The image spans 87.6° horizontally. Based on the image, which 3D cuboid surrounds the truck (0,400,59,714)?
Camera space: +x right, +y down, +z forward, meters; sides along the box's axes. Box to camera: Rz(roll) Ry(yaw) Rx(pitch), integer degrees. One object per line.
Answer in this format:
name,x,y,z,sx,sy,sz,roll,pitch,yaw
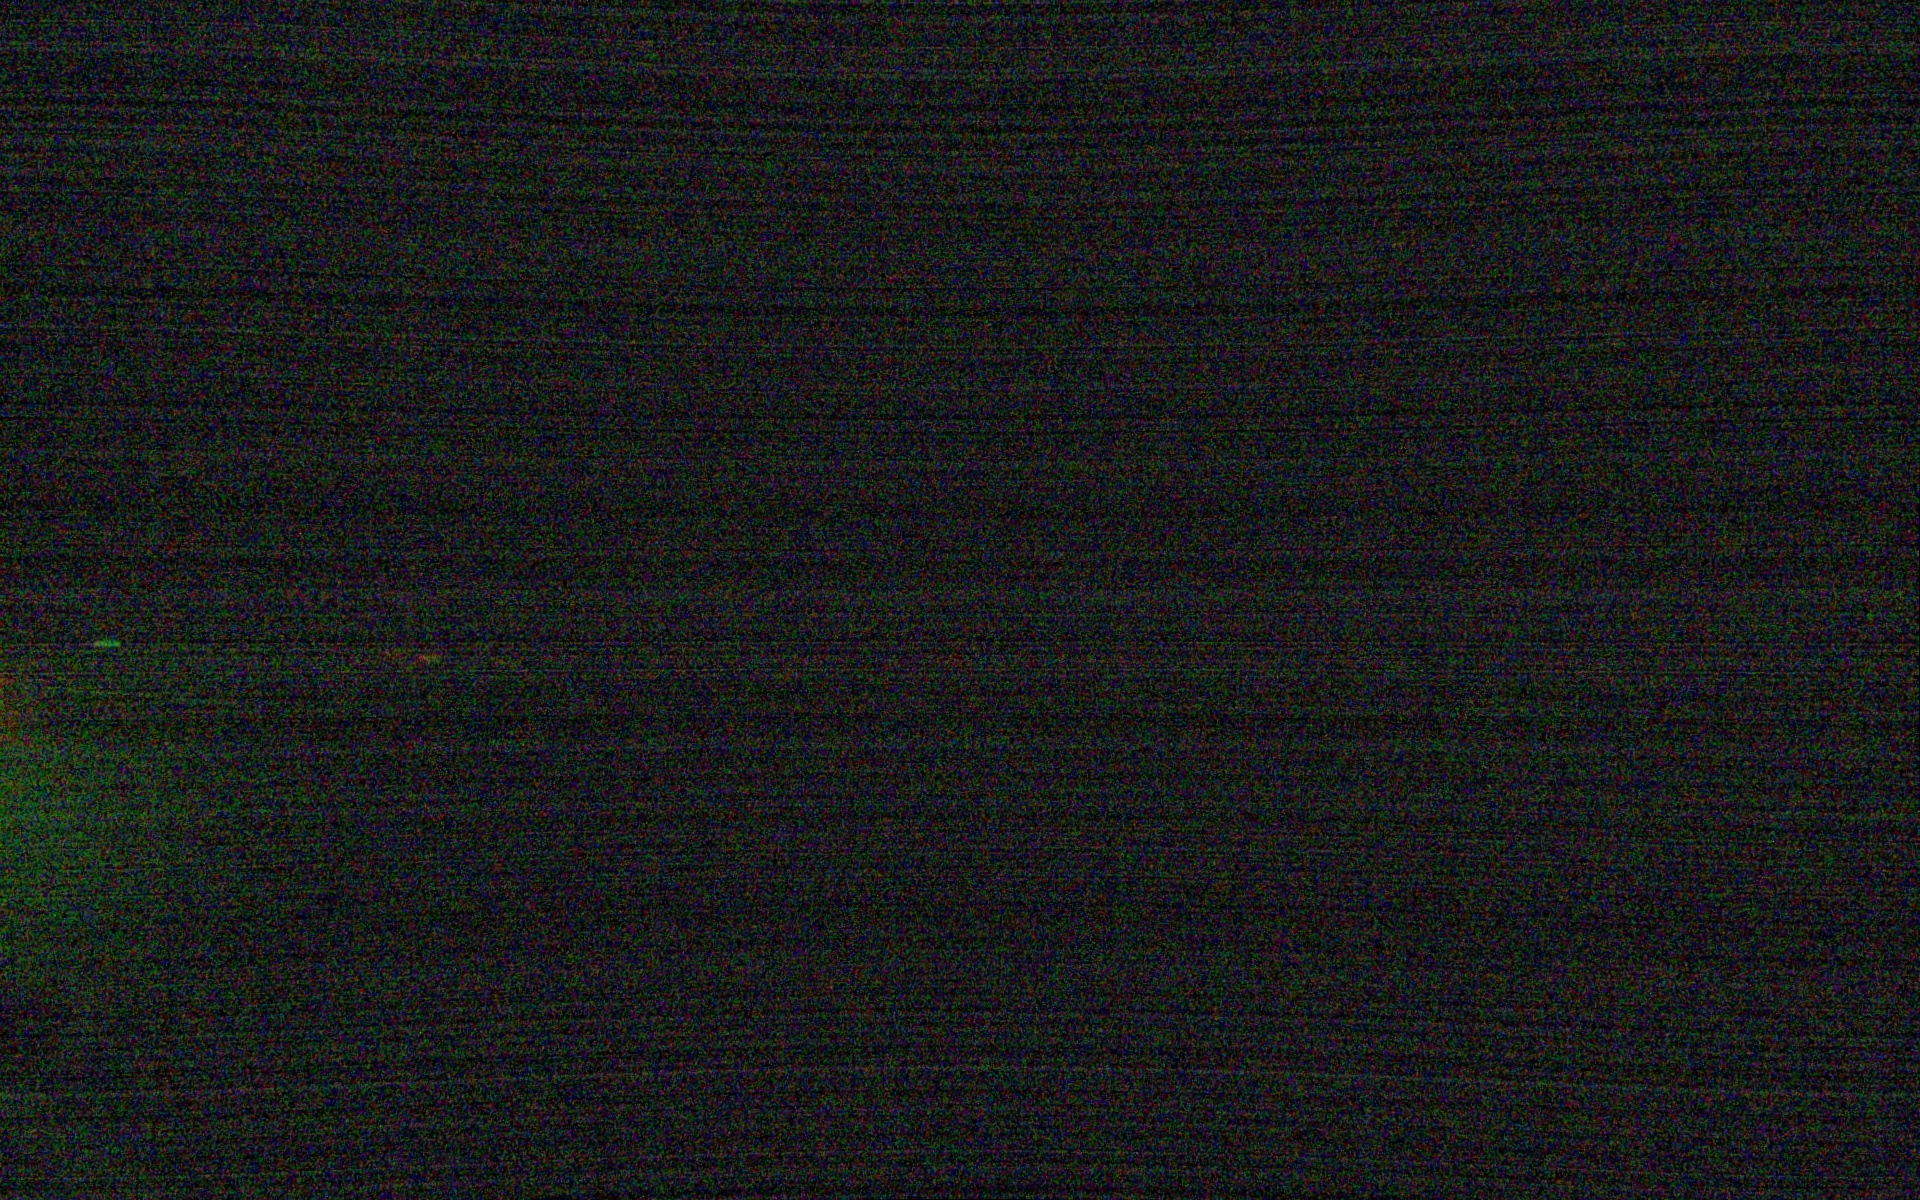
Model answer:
truck,-21.207,-0.446,17.255,18.441,4.187,3.477,-1,-2,32
